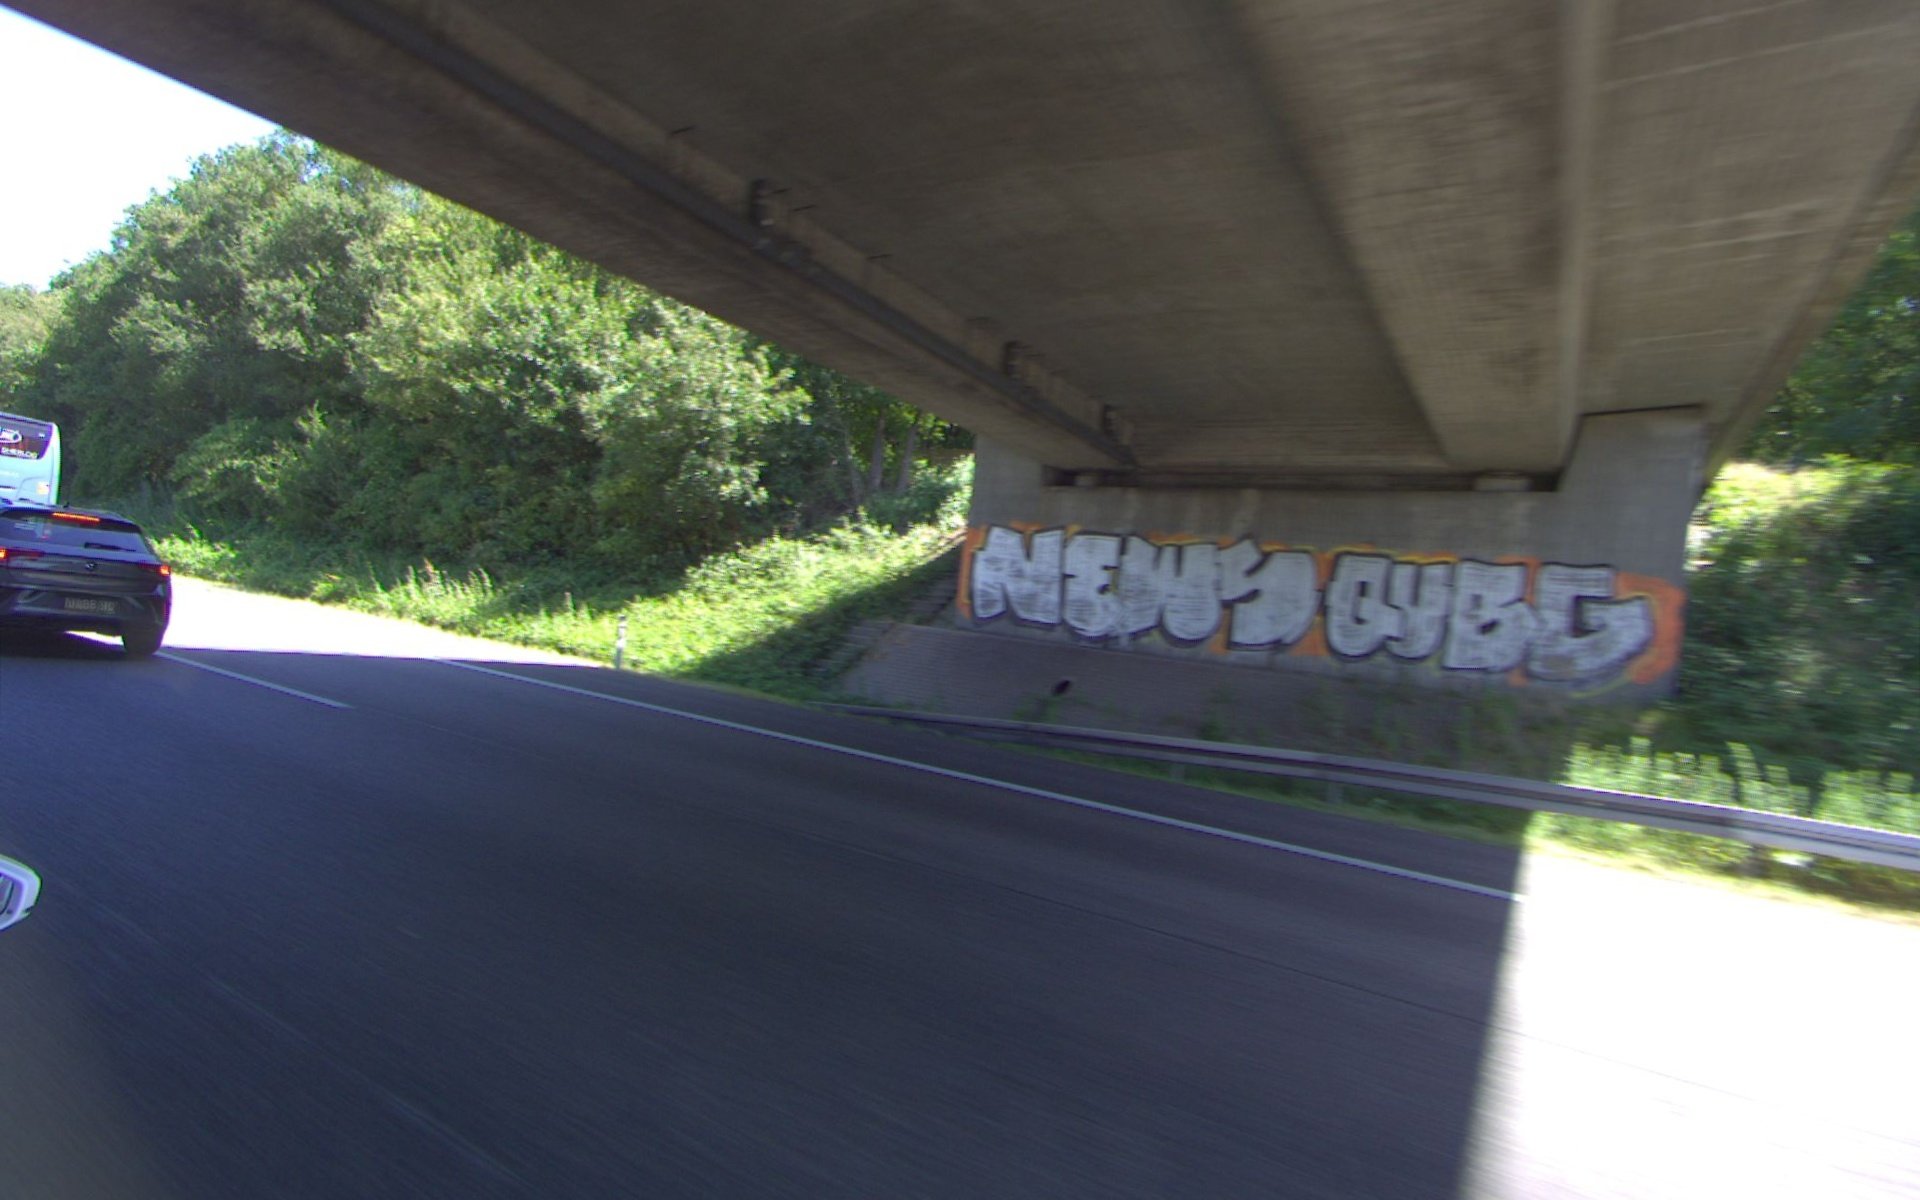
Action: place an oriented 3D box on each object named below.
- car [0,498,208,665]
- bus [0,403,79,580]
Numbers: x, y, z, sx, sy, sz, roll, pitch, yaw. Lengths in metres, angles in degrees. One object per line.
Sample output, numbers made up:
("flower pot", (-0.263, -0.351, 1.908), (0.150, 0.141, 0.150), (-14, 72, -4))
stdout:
("car", (-10.898, -0.369, 11.534), (4.680, 1.550, 1.903), (7, -1, 31))
("bus", (-25.869, -2.956, 24.624), (12.268, 3.639, 2.807), (6, -1, 32))
